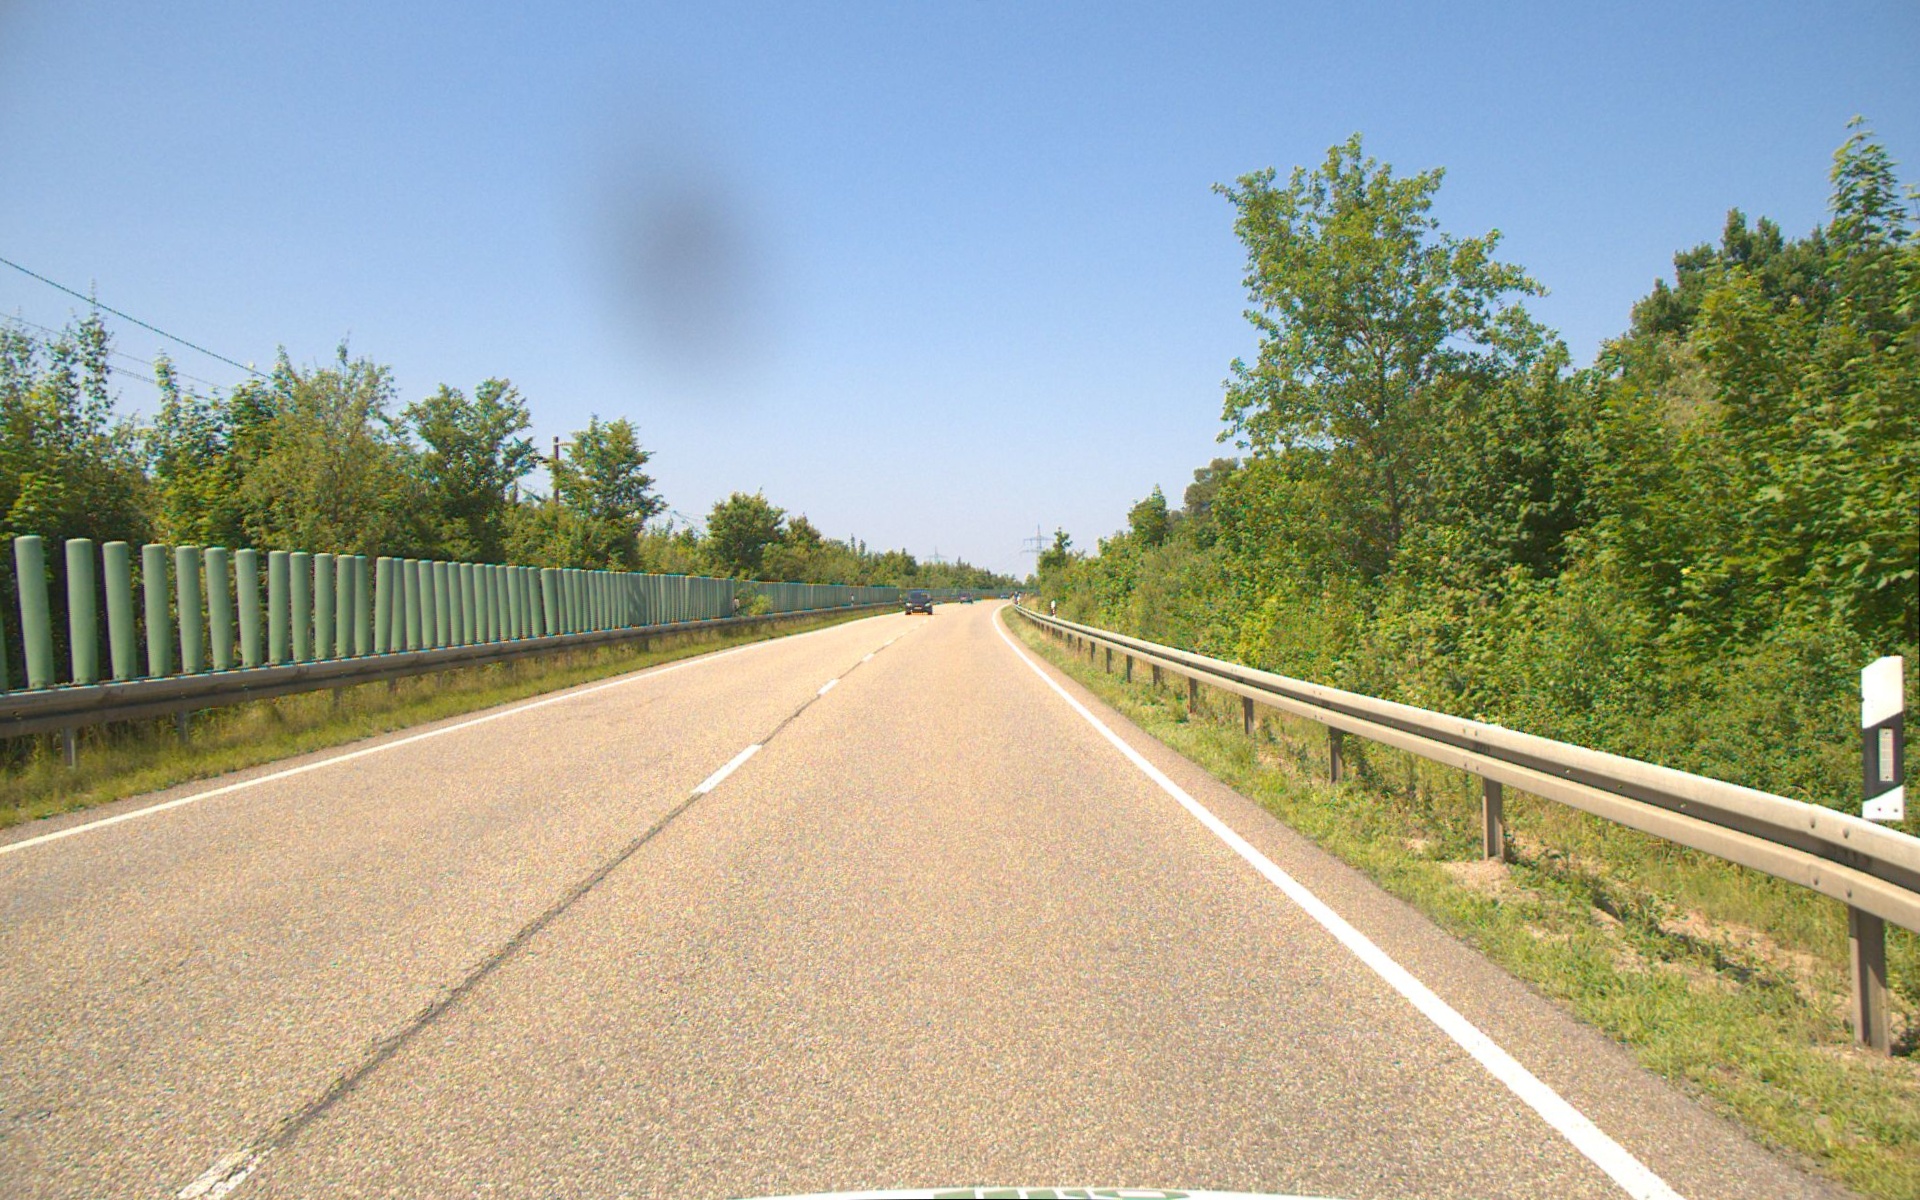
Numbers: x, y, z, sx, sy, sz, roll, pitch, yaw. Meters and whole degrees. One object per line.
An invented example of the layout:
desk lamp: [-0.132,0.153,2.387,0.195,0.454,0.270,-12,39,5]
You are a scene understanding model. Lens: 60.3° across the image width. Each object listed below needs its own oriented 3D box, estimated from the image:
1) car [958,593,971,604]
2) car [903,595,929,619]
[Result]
car: [0.597,-0.188,221.596,1.614,1.505,3.677,0,0,0]
car: [-3.074,0.475,115.872,1.728,1.669,4.126,0,0,-1]
